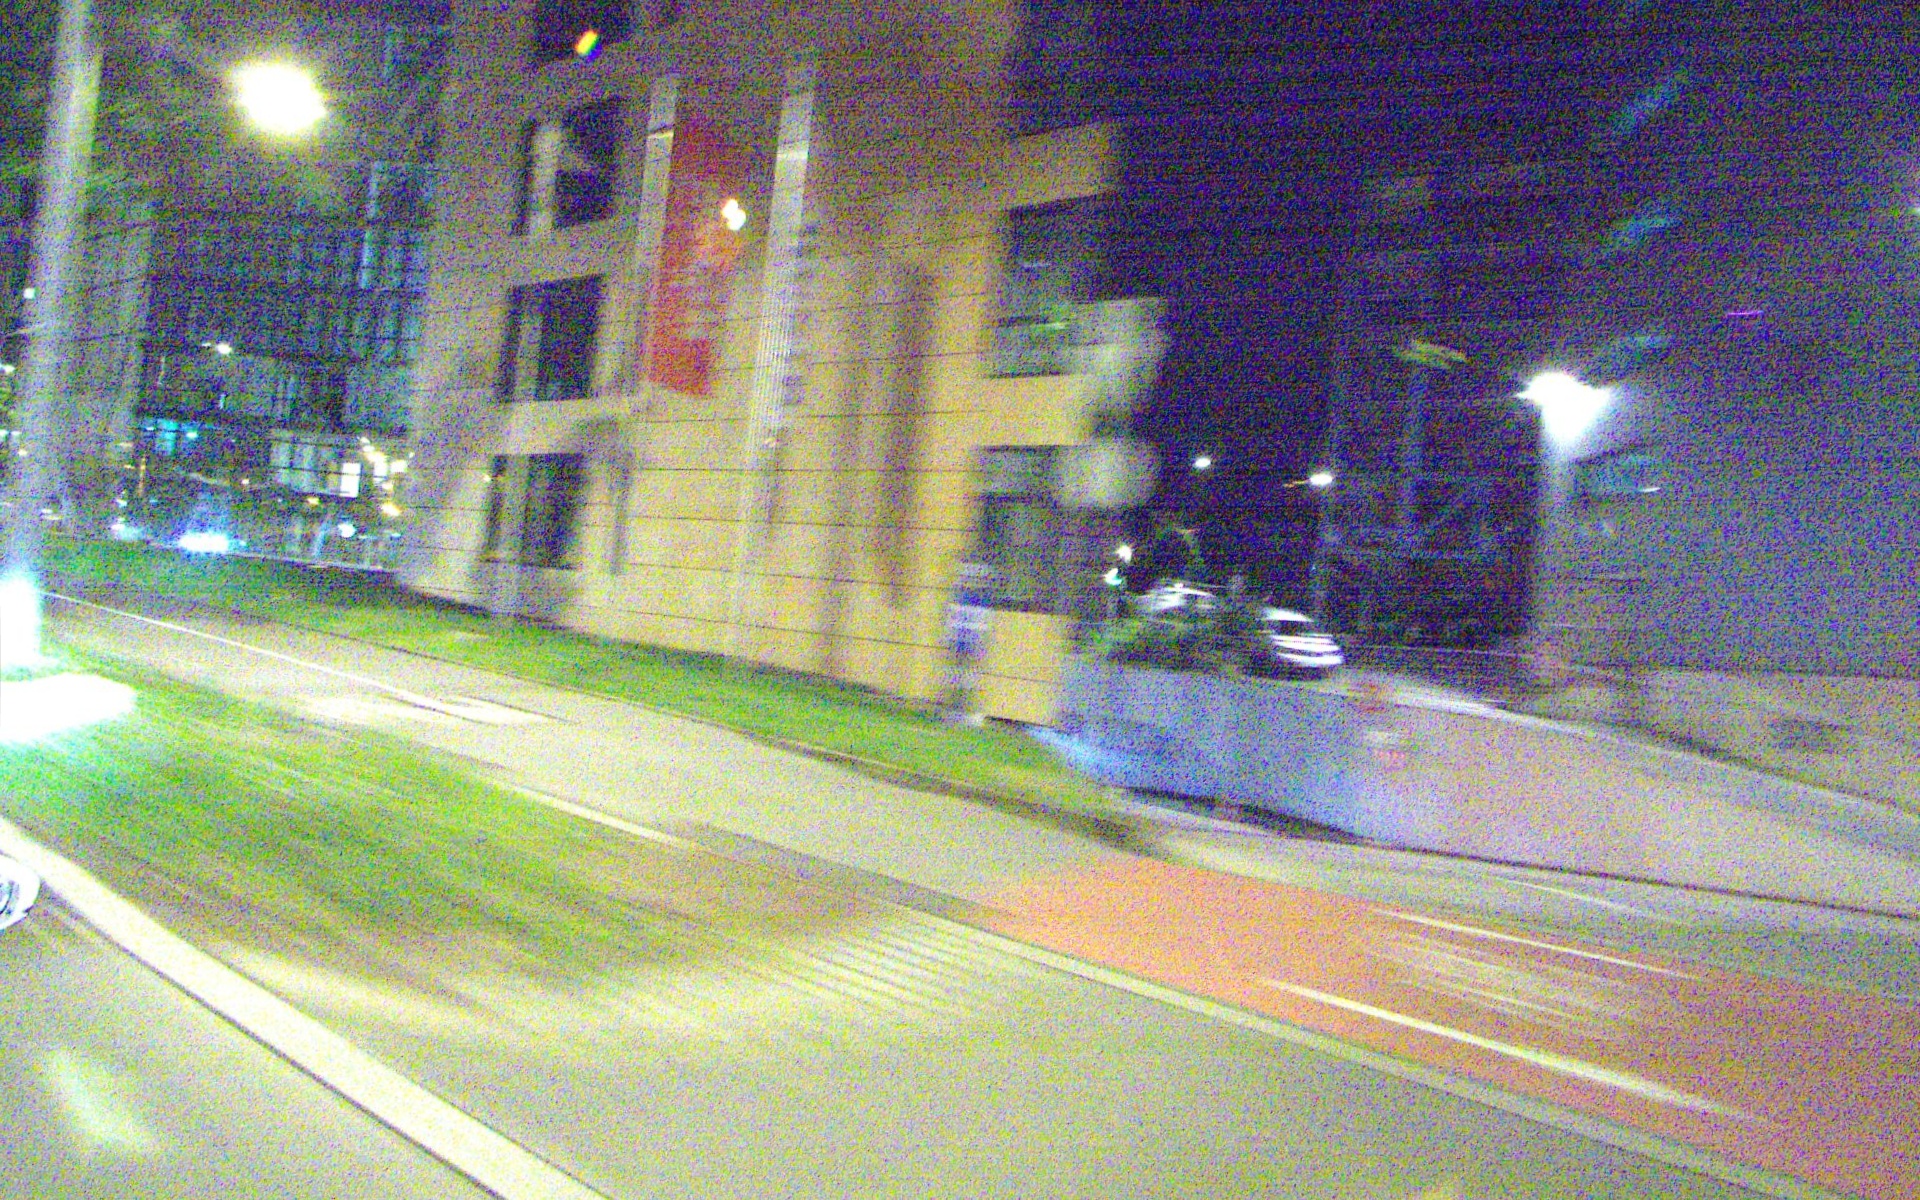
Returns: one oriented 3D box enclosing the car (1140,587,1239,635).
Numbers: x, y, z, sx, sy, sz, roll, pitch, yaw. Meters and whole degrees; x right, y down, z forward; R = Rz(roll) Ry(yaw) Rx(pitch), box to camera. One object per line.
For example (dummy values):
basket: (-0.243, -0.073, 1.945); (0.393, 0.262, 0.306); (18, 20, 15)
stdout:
car: (10.956, 0.563, 48.333); (4.304, 1.663, 1.868); (8, -1, 8)

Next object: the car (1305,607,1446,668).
car: (13.938, 1.242, 33.957); (3.923, 1.672, 1.786); (3, 4, 3)

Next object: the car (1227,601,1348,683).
car: (9.580, 1.175, 29.800); (1.604, 1.685, 3.982); (3, 8, -10)

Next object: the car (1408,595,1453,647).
car: (22.562, 1.055, 48.253); (1.668, 2.037, 4.115); (8, -1, 26)

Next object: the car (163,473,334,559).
car: (-21.223, -2.455, 30.222); (1.962, 1.884, 3.780); (8, -1, 8)

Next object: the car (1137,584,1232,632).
car: (11.391, 0.419, 51.305); (4.435, 1.742, 2.002); (8, -1, 8)

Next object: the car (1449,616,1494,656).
car: (26.650, 1.901, 52.530); (1.820, 1.702, 3.715); (8, -1, 26)

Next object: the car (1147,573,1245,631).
car: (10.602, 0.124, 45.523); (3.924, 2.038, 2.002); (8, 0, 8)

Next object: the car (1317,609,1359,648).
car: (20.750, 1.584, 55.186); (1.668, 1.711, 3.716); (7, -1, 26)

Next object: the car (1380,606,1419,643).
car: (23.747, 1.350, 54.343); (1.624, 1.636, 3.715); (8, -1, 26)
